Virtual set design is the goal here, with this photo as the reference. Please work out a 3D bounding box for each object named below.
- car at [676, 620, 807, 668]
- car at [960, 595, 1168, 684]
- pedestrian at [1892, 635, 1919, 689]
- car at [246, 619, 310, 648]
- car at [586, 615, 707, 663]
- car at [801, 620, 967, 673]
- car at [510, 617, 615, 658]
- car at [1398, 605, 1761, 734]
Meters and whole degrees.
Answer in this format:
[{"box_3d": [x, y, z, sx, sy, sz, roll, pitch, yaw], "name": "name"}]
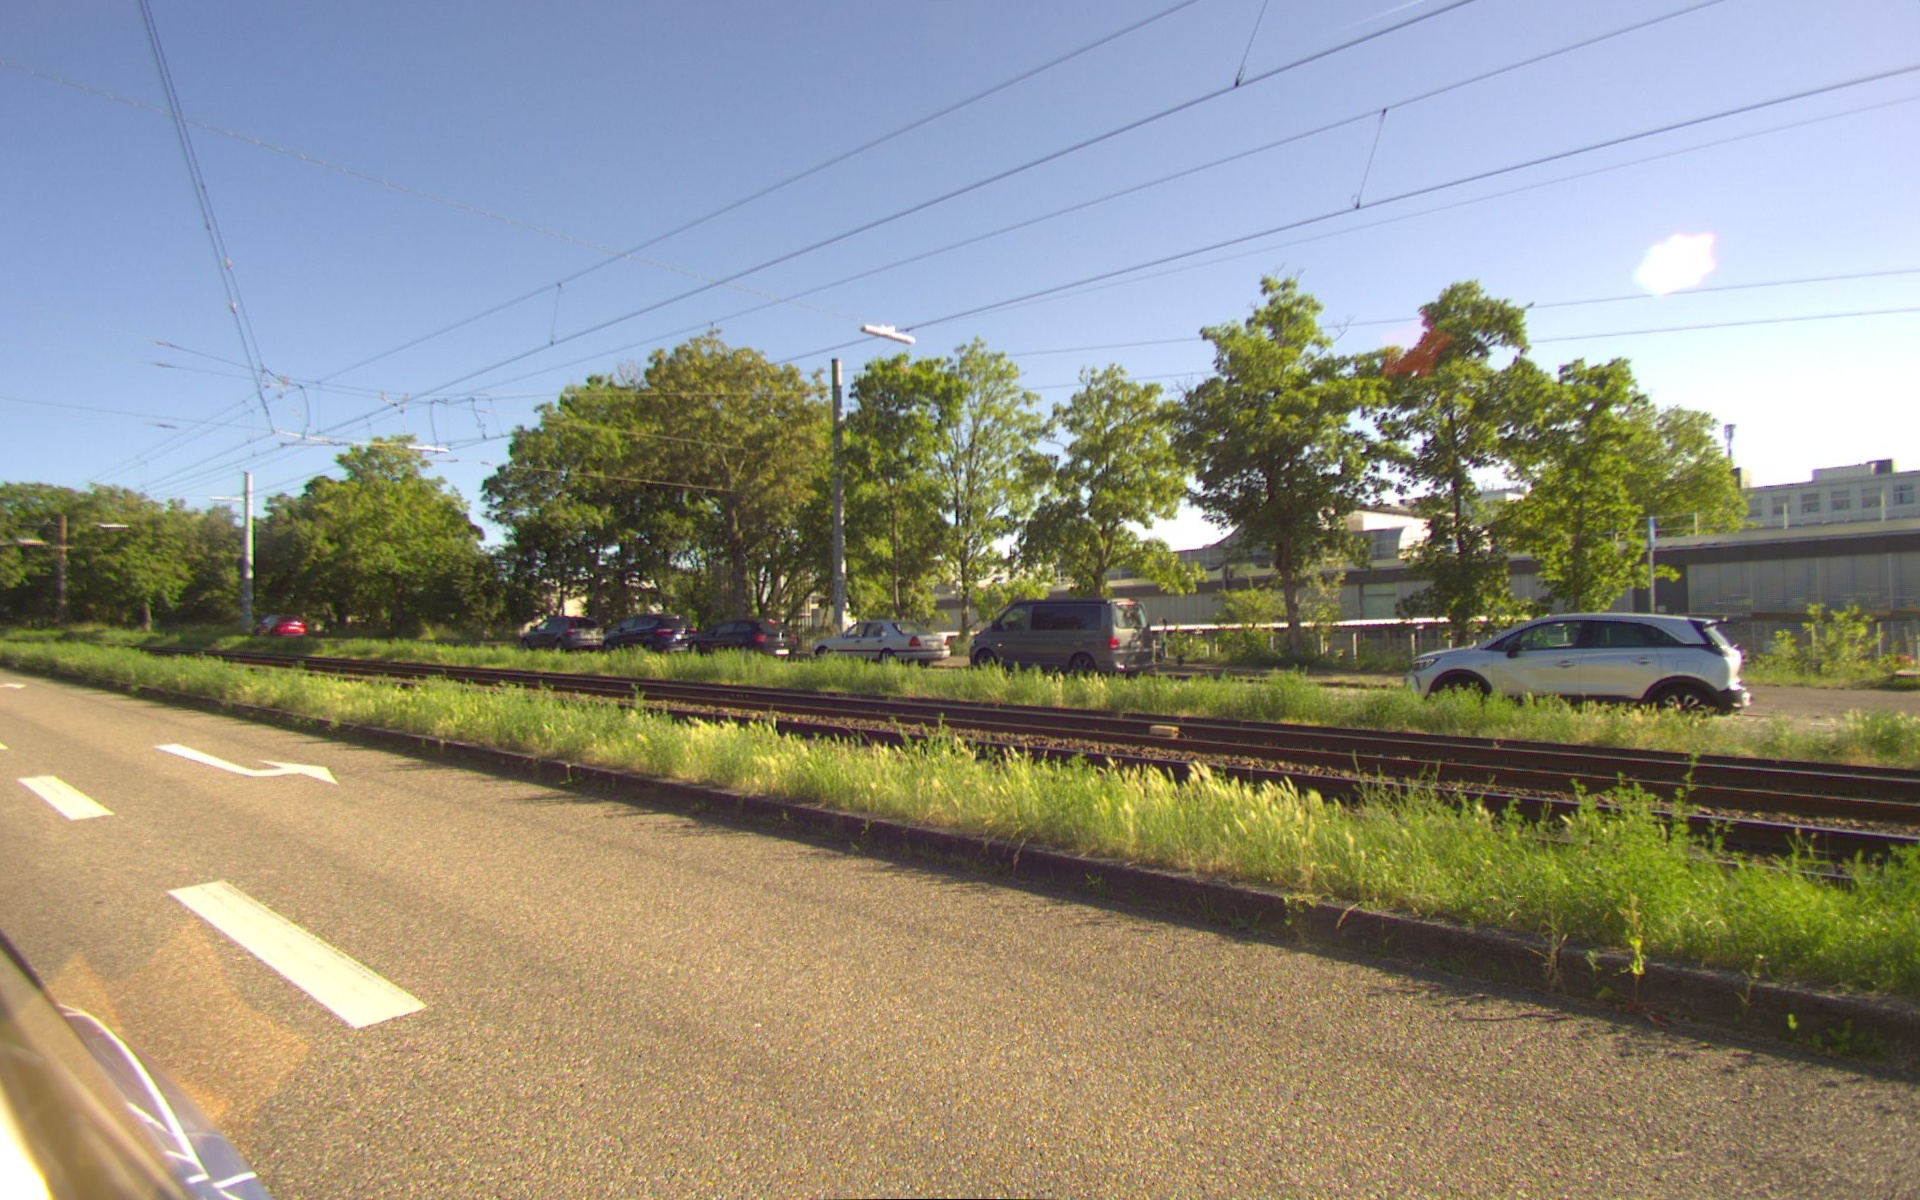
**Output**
[{"box_3d": [-7.236, 1.425, 33.229, 4.486, 1.437, 1.935, -2, -1, 42], "name": "car"}, {"box_3d": [2.458, 0.934, 24.797, 4.684, 1.949, 2.178, -2, -1, 42], "name": "car"}, {"box_3d": [23.522, 1.538, 25.046, 0.435, 1.310, 0.441, -1, -2, -1], "name": "pedestrian"}, {"box_3d": [-42.455, 2.083, 62.985, 4.797, 1.746, 2.290, -2, -1, 43], "name": "car"}, {"box_3d": [-11.431, 1.391, 36.782, 4.614, 1.599, 2.102, -2, -1, 41], "name": "car"}, {"box_3d": [-2.259, 1.312, 29.222, 4.612, 1.391, 2.103, -2, -1, 40], "name": "car"}, {"box_3d": [-16.260, 1.522, 41.258, 4.557, 1.575, 2.103, -2, -1, 41], "name": "car"}, {"box_3d": [8.652, 0.908, 14.398, 4.148, 1.569, 1.839, -2, -1, 36], "name": "car"}]
